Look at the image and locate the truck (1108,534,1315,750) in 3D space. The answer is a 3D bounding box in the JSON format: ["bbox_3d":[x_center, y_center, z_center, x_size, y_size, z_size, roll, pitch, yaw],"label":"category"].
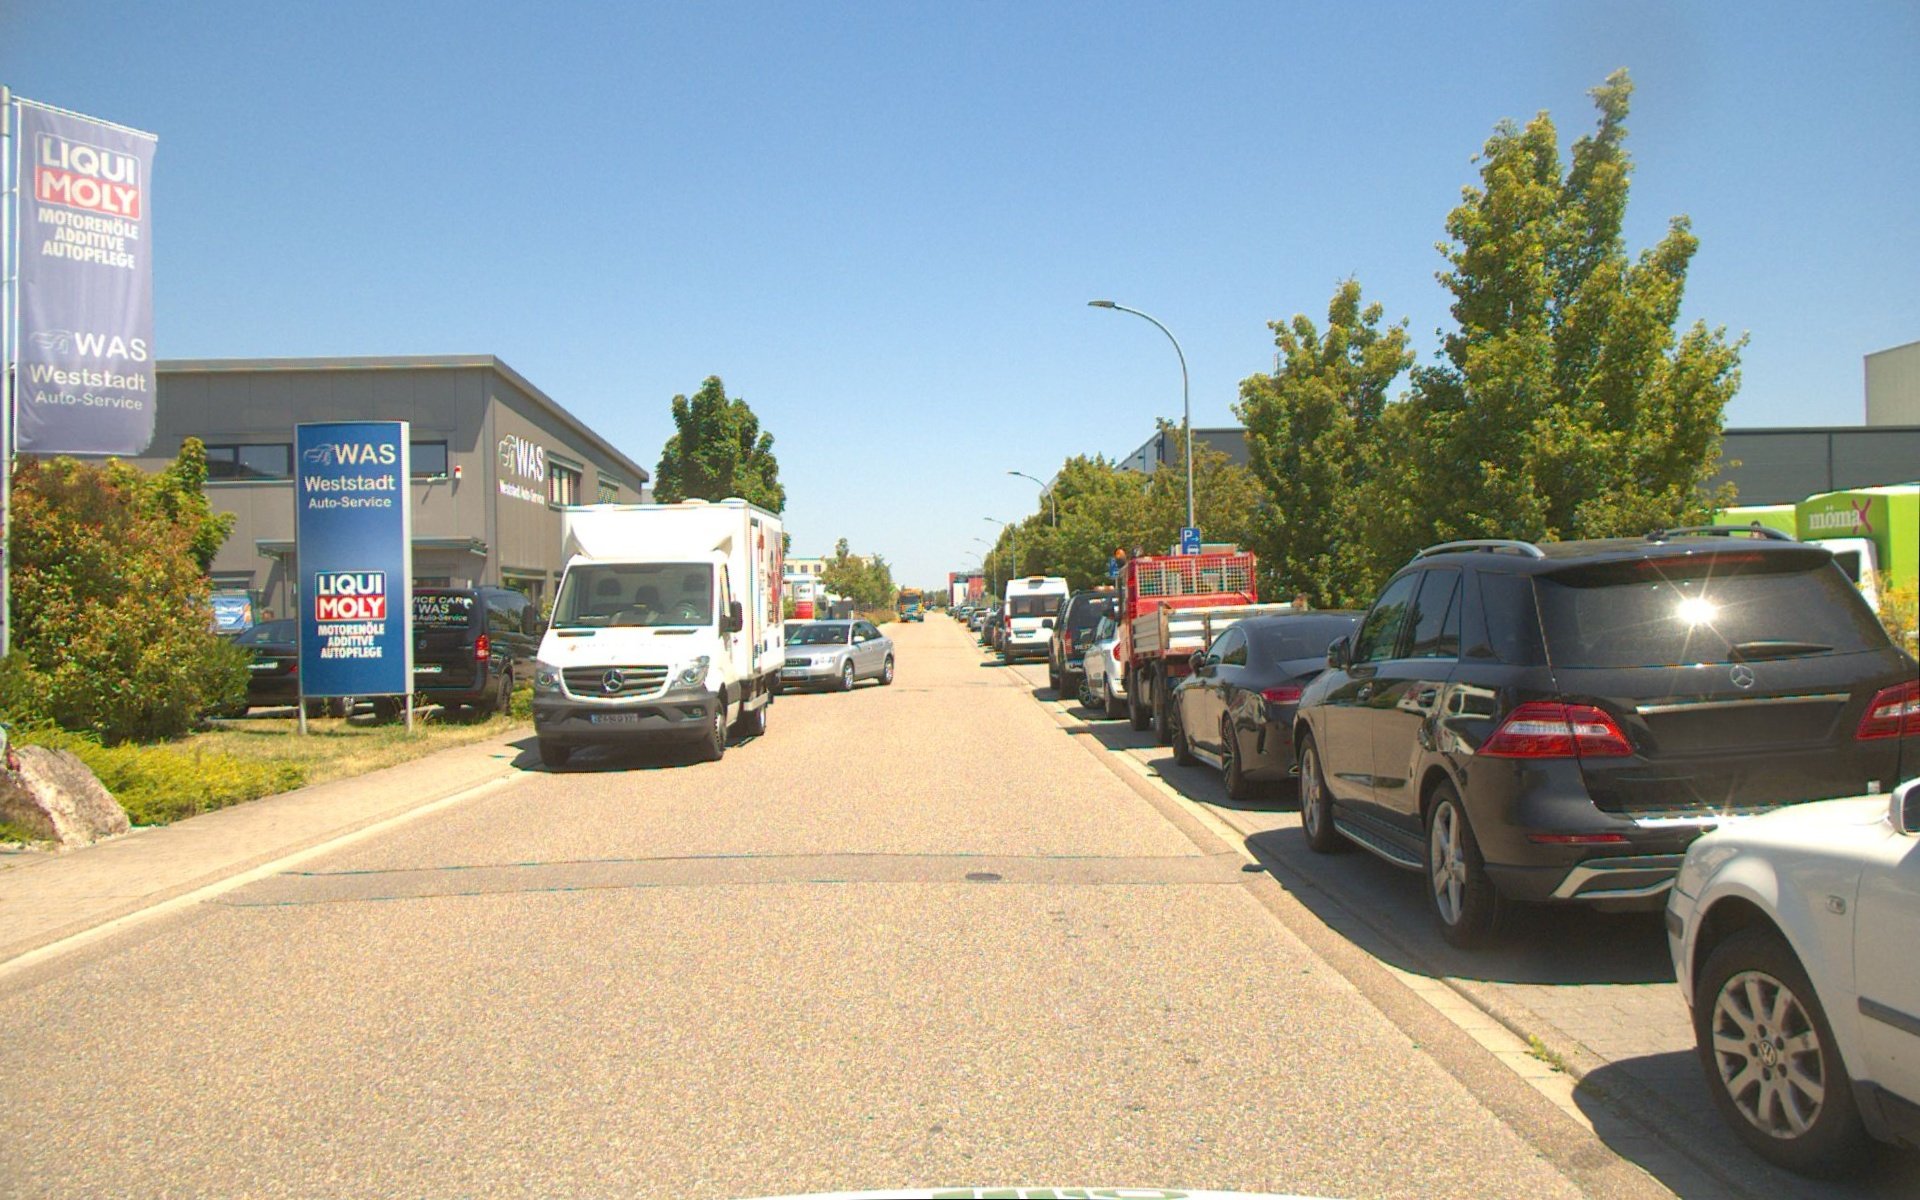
[{"bbox_3d":[2.885,0.464,19.866,1.645,2.219,4.389,-3,-1,-1],"label":"truck"}]

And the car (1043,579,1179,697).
[{"bbox_3d":[2.688,0.665,30.588,1.953,1.917,5.154,-2,-1,0],"label":"car"}]

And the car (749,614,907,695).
[{"bbox_3d":[-2.671,1.091,34.519,1.745,1.447,4.416,-3,-1,16],"label":"car"}]

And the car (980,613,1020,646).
[{"bbox_3d":[1.981,1.420,80.910,1.673,1.531,4.708,-1,-1,4],"label":"car"}]

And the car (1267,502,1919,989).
[{"bbox_3d":[2.970,0.540,8.601,1.774,1.755,4.773,-3,0,0],"label":"car"}]

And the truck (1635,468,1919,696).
[{"bbox_3d":[12.739,-0.265,22.927,5.785,2.922,2.304,-1,-1,-4],"label":"truck"}]

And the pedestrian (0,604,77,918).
[{"bbox_3d":[-5.357,0.823,8.786,0.880,1.602,0.785,1,0,0],"label":"pedestrian"}]

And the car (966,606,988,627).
[{"bbox_3d":[1.375,1.338,135.844,1.686,1.724,3.984,-1,0,0],"label":"car"}]

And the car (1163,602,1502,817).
[{"bbox_3d":[2.888,0.785,13.929,1.663,1.407,4.836,-3,-1,-1],"label":"car"}]

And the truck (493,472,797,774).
[{"bbox_3d":[-3.468,0.263,19.773,2.313,2.910,6.414,-3,-1,0],"label":"truck"}]

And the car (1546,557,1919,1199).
[{"bbox_3d":[2.918,0.627,3.038,1.680,1.508,4.770,-3,0,-4],"label":"car"}]

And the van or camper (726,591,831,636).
[{"bbox_3d":[-13.055,0.962,119.536,7.235,3.090,2.789,-1,0,-2],"label":"van or camper"}]

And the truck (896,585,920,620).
[{"bbox_3d":[-5.622,0.263,180.046,2.399,3.574,8.270,-2,0,-1],"label":"truck"}]

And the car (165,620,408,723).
[{"bbox_3d":[-10.402,1.045,25.978,1.892,1.441,4.768,1,-1,-1],"label":"car"}]

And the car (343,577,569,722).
[{"bbox_3d":[-7.582,0.710,25.469,1.953,1.991,5.216,0,-1,-1],"label":"car"}]

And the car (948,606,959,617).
[{"bbox_3d":[-0.962,1.617,229.717,1.465,1.434,3.499,-1,0,-1],"label":"car"}]

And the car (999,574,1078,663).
[{"bbox_3d":[2.365,0.574,51.576,2.221,2.541,6.152,-2,-1,1],"label":"car"}]

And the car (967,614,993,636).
[{"bbox_3d":[1.420,1.780,117.821,1.683,1.475,3.645,-2,0,-1],"label":"car"}]

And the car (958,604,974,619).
[{"bbox_3d":[0.598,1.107,164.994,1.553,1.434,3.499,-1,0,-1],"label":"car"}]

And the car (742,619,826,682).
[{"bbox_3d":[-4.365,1.229,41.494,1.695,1.484,4.490,0,-1,-1],"label":"car"}]

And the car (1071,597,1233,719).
[{"bbox_3d":[2.724,0.801,24.342,1.703,1.557,3.998,-3,-1,-2],"label":"car"}]

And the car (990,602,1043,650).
[{"bbox_3d":[2.307,1.079,68.657,1.953,1.857,4.352,-1,-1,-1],"label":"car"}]

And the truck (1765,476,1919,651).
[{"bbox_3d":[22.122,-0.822,38.845,4.959,3.943,2.803,-1,-1,-1],"label":"truck"}]

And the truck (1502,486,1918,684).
[{"bbox_3d":[12.206,-0.230,27.219,5.704,2.964,2.414,-1,-1,-2],"label":"truck"}]

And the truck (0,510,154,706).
[{"bbox_3d":[-20.089,0.142,33.601,7.884,3.619,2.583,0,0,28],"label":"truck"}]
